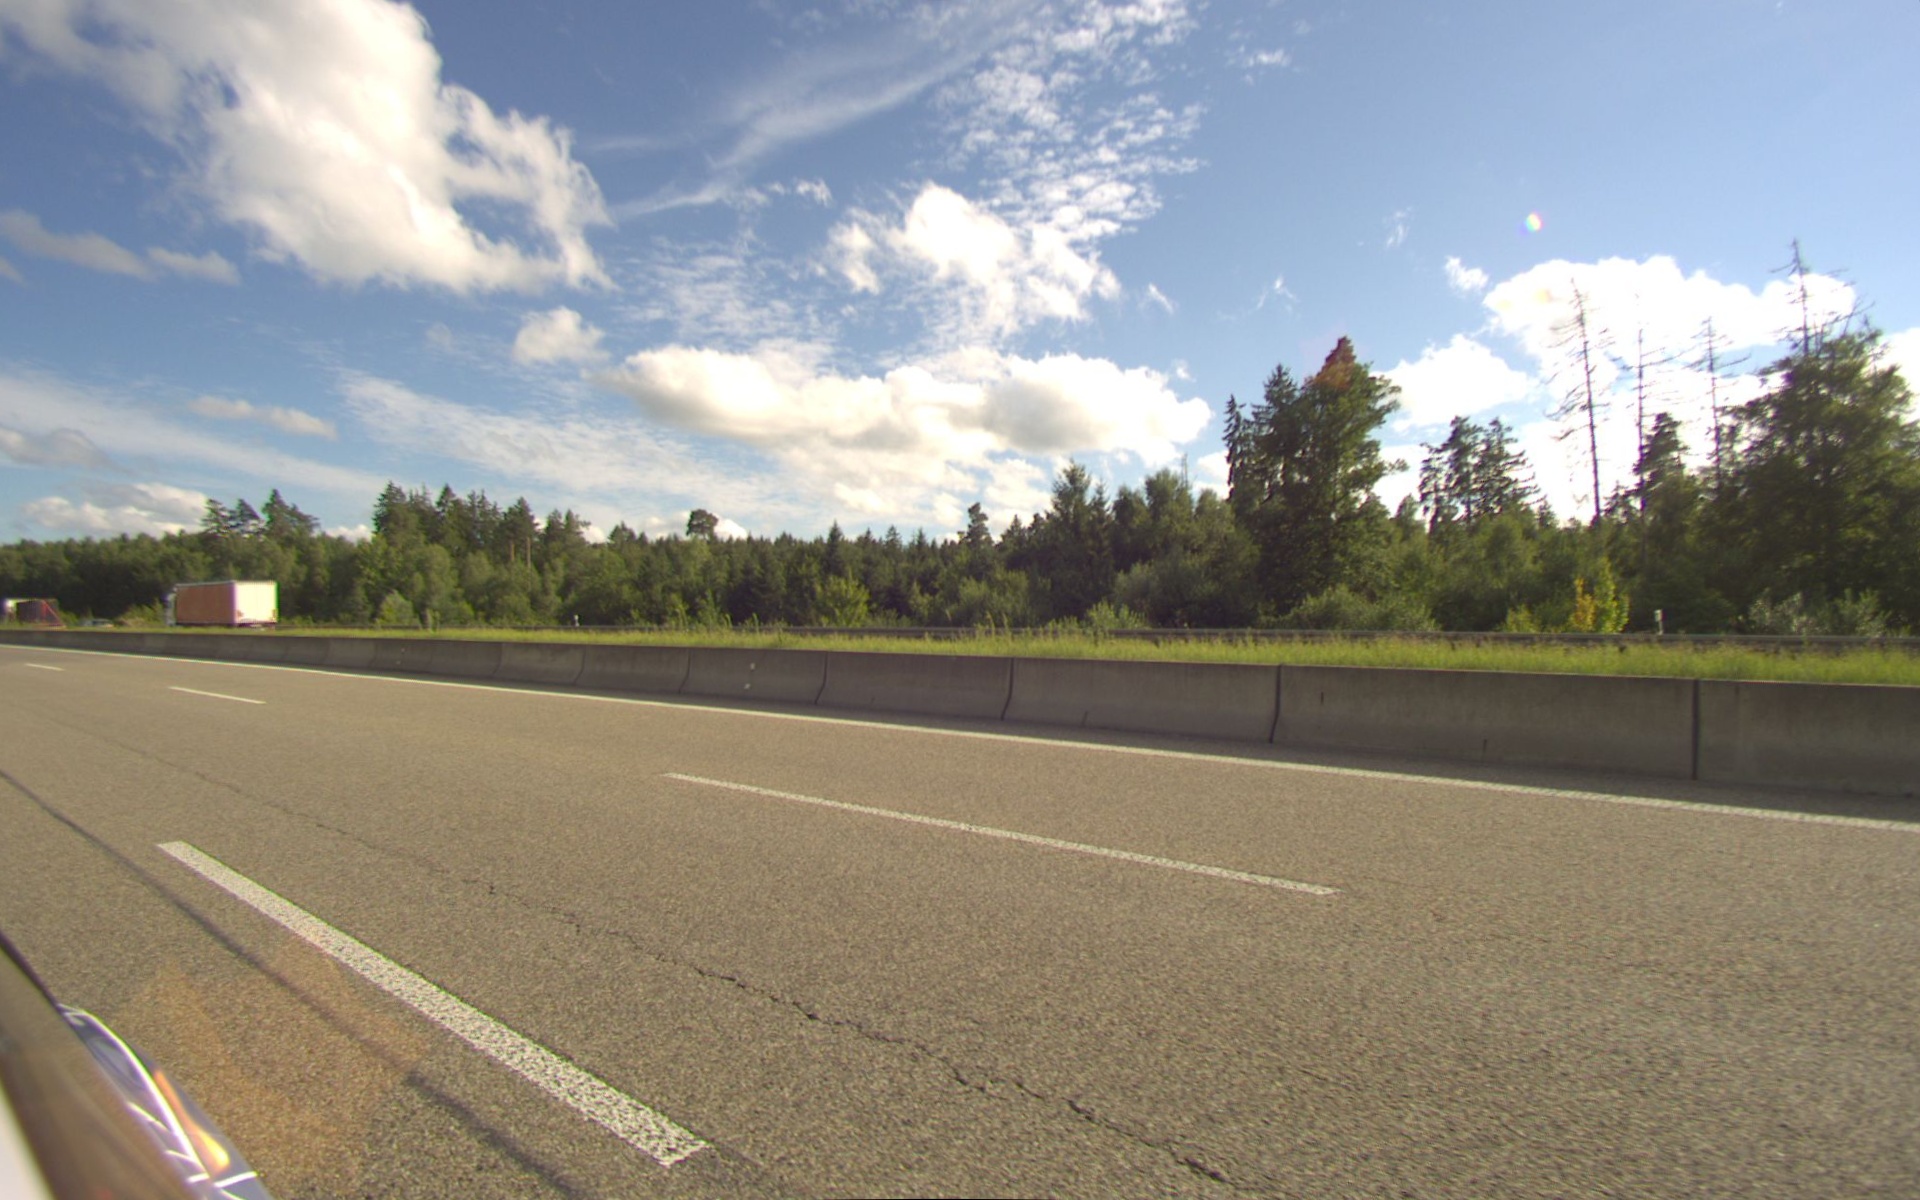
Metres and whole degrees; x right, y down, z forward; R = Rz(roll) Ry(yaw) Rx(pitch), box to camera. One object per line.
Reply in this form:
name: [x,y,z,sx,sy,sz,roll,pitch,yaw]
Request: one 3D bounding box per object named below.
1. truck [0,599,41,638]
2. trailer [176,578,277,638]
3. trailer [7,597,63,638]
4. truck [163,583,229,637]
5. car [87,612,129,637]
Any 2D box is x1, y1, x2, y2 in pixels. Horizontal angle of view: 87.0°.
truck: [-108.903,2.113,117.272,5.457,4.425,2.776,-1,-1,38]
trailer: [-54.343,0.669,74.773,12.781,4.140,2.991,-1,-1,40]
trailer: [-103.004,1.961,112.614,12.034,4.425,2.775,-1,-1,38]
truck: [-60.127,0.789,79.633,5.664,4.140,2.994,-1,-1,40]
car: [-70.387,2.001,83.608,3.997,2.029,1.973,-1,-1,40]
